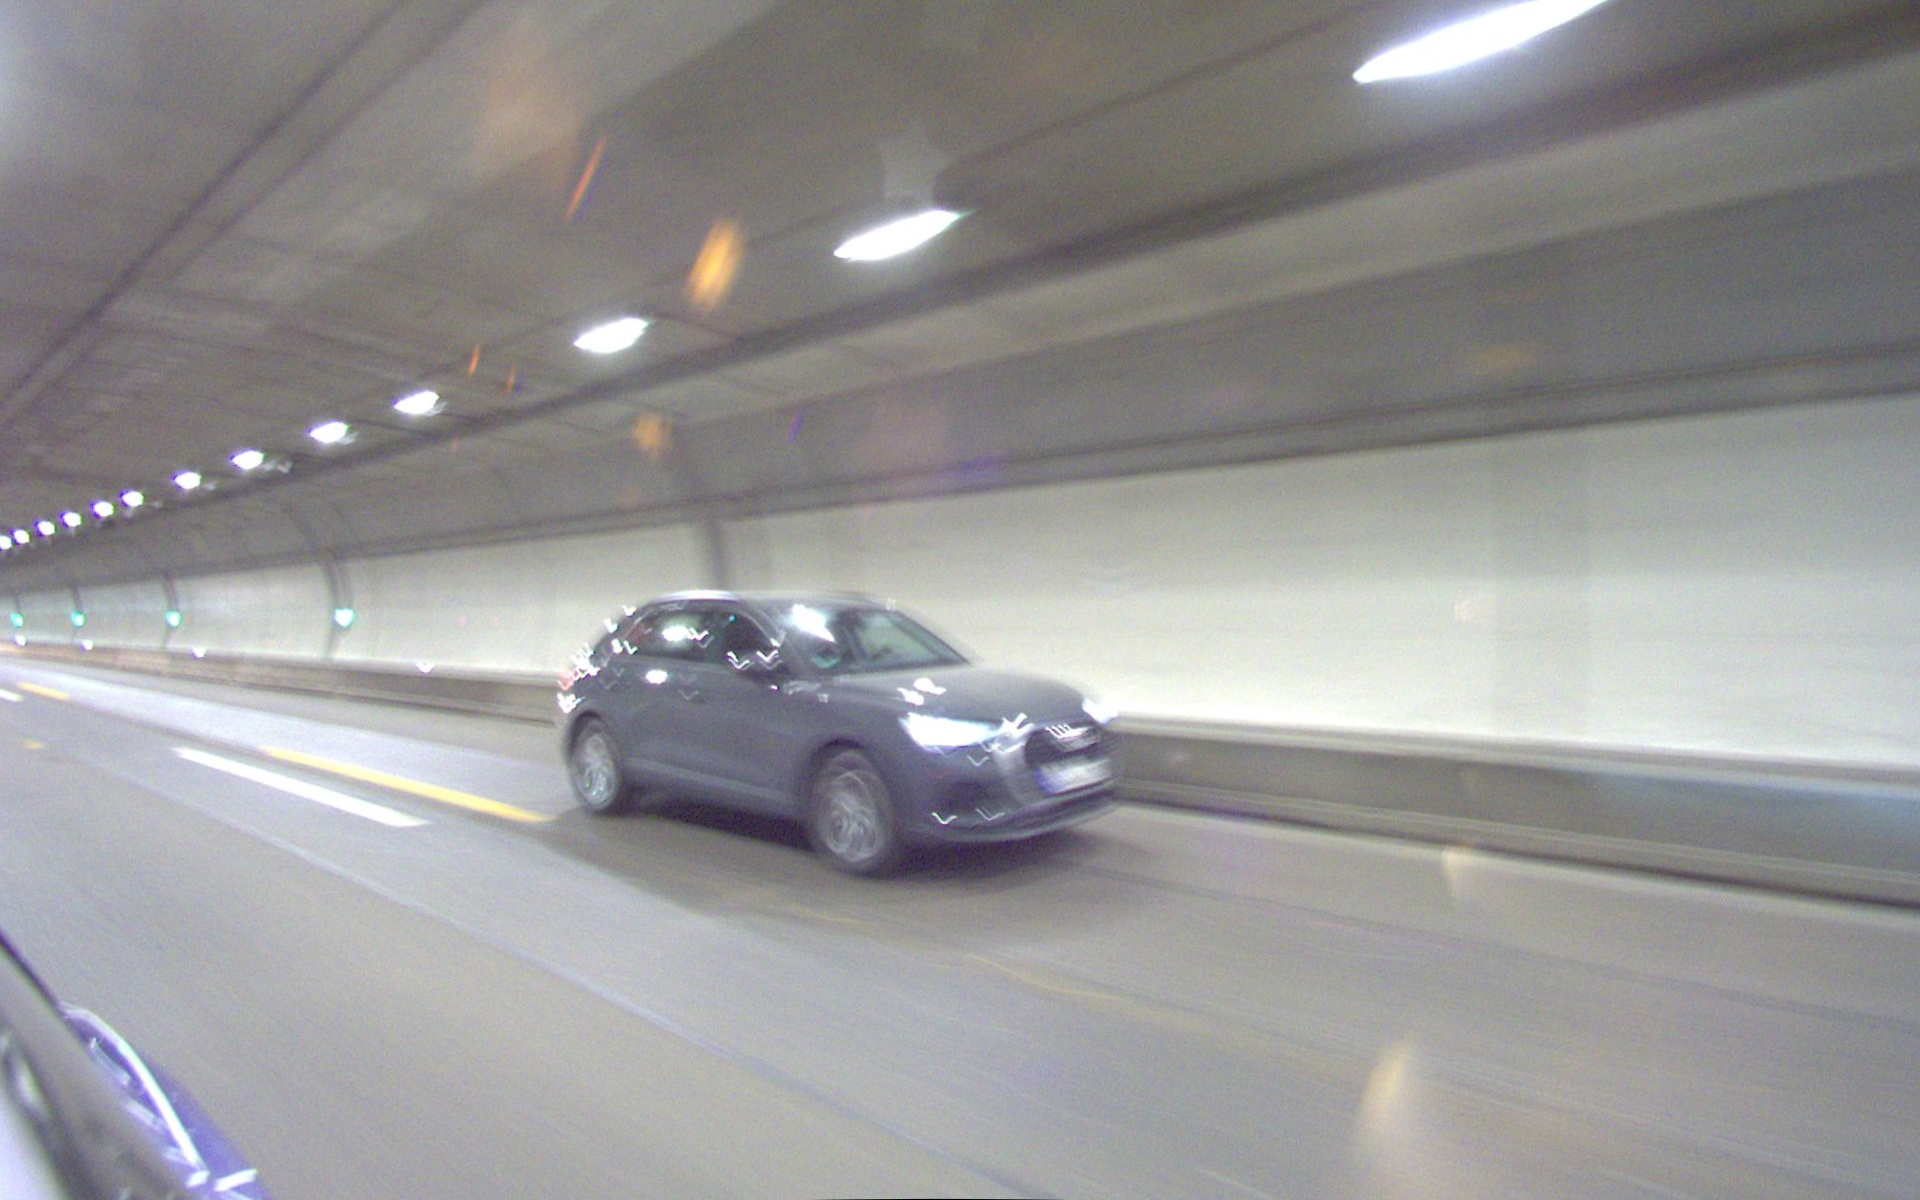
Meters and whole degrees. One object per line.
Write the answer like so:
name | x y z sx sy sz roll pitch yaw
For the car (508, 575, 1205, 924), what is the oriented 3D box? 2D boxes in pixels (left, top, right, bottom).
car | -0.972 0.692 6.818 4.739 1.552 1.973 -1 -1 41
